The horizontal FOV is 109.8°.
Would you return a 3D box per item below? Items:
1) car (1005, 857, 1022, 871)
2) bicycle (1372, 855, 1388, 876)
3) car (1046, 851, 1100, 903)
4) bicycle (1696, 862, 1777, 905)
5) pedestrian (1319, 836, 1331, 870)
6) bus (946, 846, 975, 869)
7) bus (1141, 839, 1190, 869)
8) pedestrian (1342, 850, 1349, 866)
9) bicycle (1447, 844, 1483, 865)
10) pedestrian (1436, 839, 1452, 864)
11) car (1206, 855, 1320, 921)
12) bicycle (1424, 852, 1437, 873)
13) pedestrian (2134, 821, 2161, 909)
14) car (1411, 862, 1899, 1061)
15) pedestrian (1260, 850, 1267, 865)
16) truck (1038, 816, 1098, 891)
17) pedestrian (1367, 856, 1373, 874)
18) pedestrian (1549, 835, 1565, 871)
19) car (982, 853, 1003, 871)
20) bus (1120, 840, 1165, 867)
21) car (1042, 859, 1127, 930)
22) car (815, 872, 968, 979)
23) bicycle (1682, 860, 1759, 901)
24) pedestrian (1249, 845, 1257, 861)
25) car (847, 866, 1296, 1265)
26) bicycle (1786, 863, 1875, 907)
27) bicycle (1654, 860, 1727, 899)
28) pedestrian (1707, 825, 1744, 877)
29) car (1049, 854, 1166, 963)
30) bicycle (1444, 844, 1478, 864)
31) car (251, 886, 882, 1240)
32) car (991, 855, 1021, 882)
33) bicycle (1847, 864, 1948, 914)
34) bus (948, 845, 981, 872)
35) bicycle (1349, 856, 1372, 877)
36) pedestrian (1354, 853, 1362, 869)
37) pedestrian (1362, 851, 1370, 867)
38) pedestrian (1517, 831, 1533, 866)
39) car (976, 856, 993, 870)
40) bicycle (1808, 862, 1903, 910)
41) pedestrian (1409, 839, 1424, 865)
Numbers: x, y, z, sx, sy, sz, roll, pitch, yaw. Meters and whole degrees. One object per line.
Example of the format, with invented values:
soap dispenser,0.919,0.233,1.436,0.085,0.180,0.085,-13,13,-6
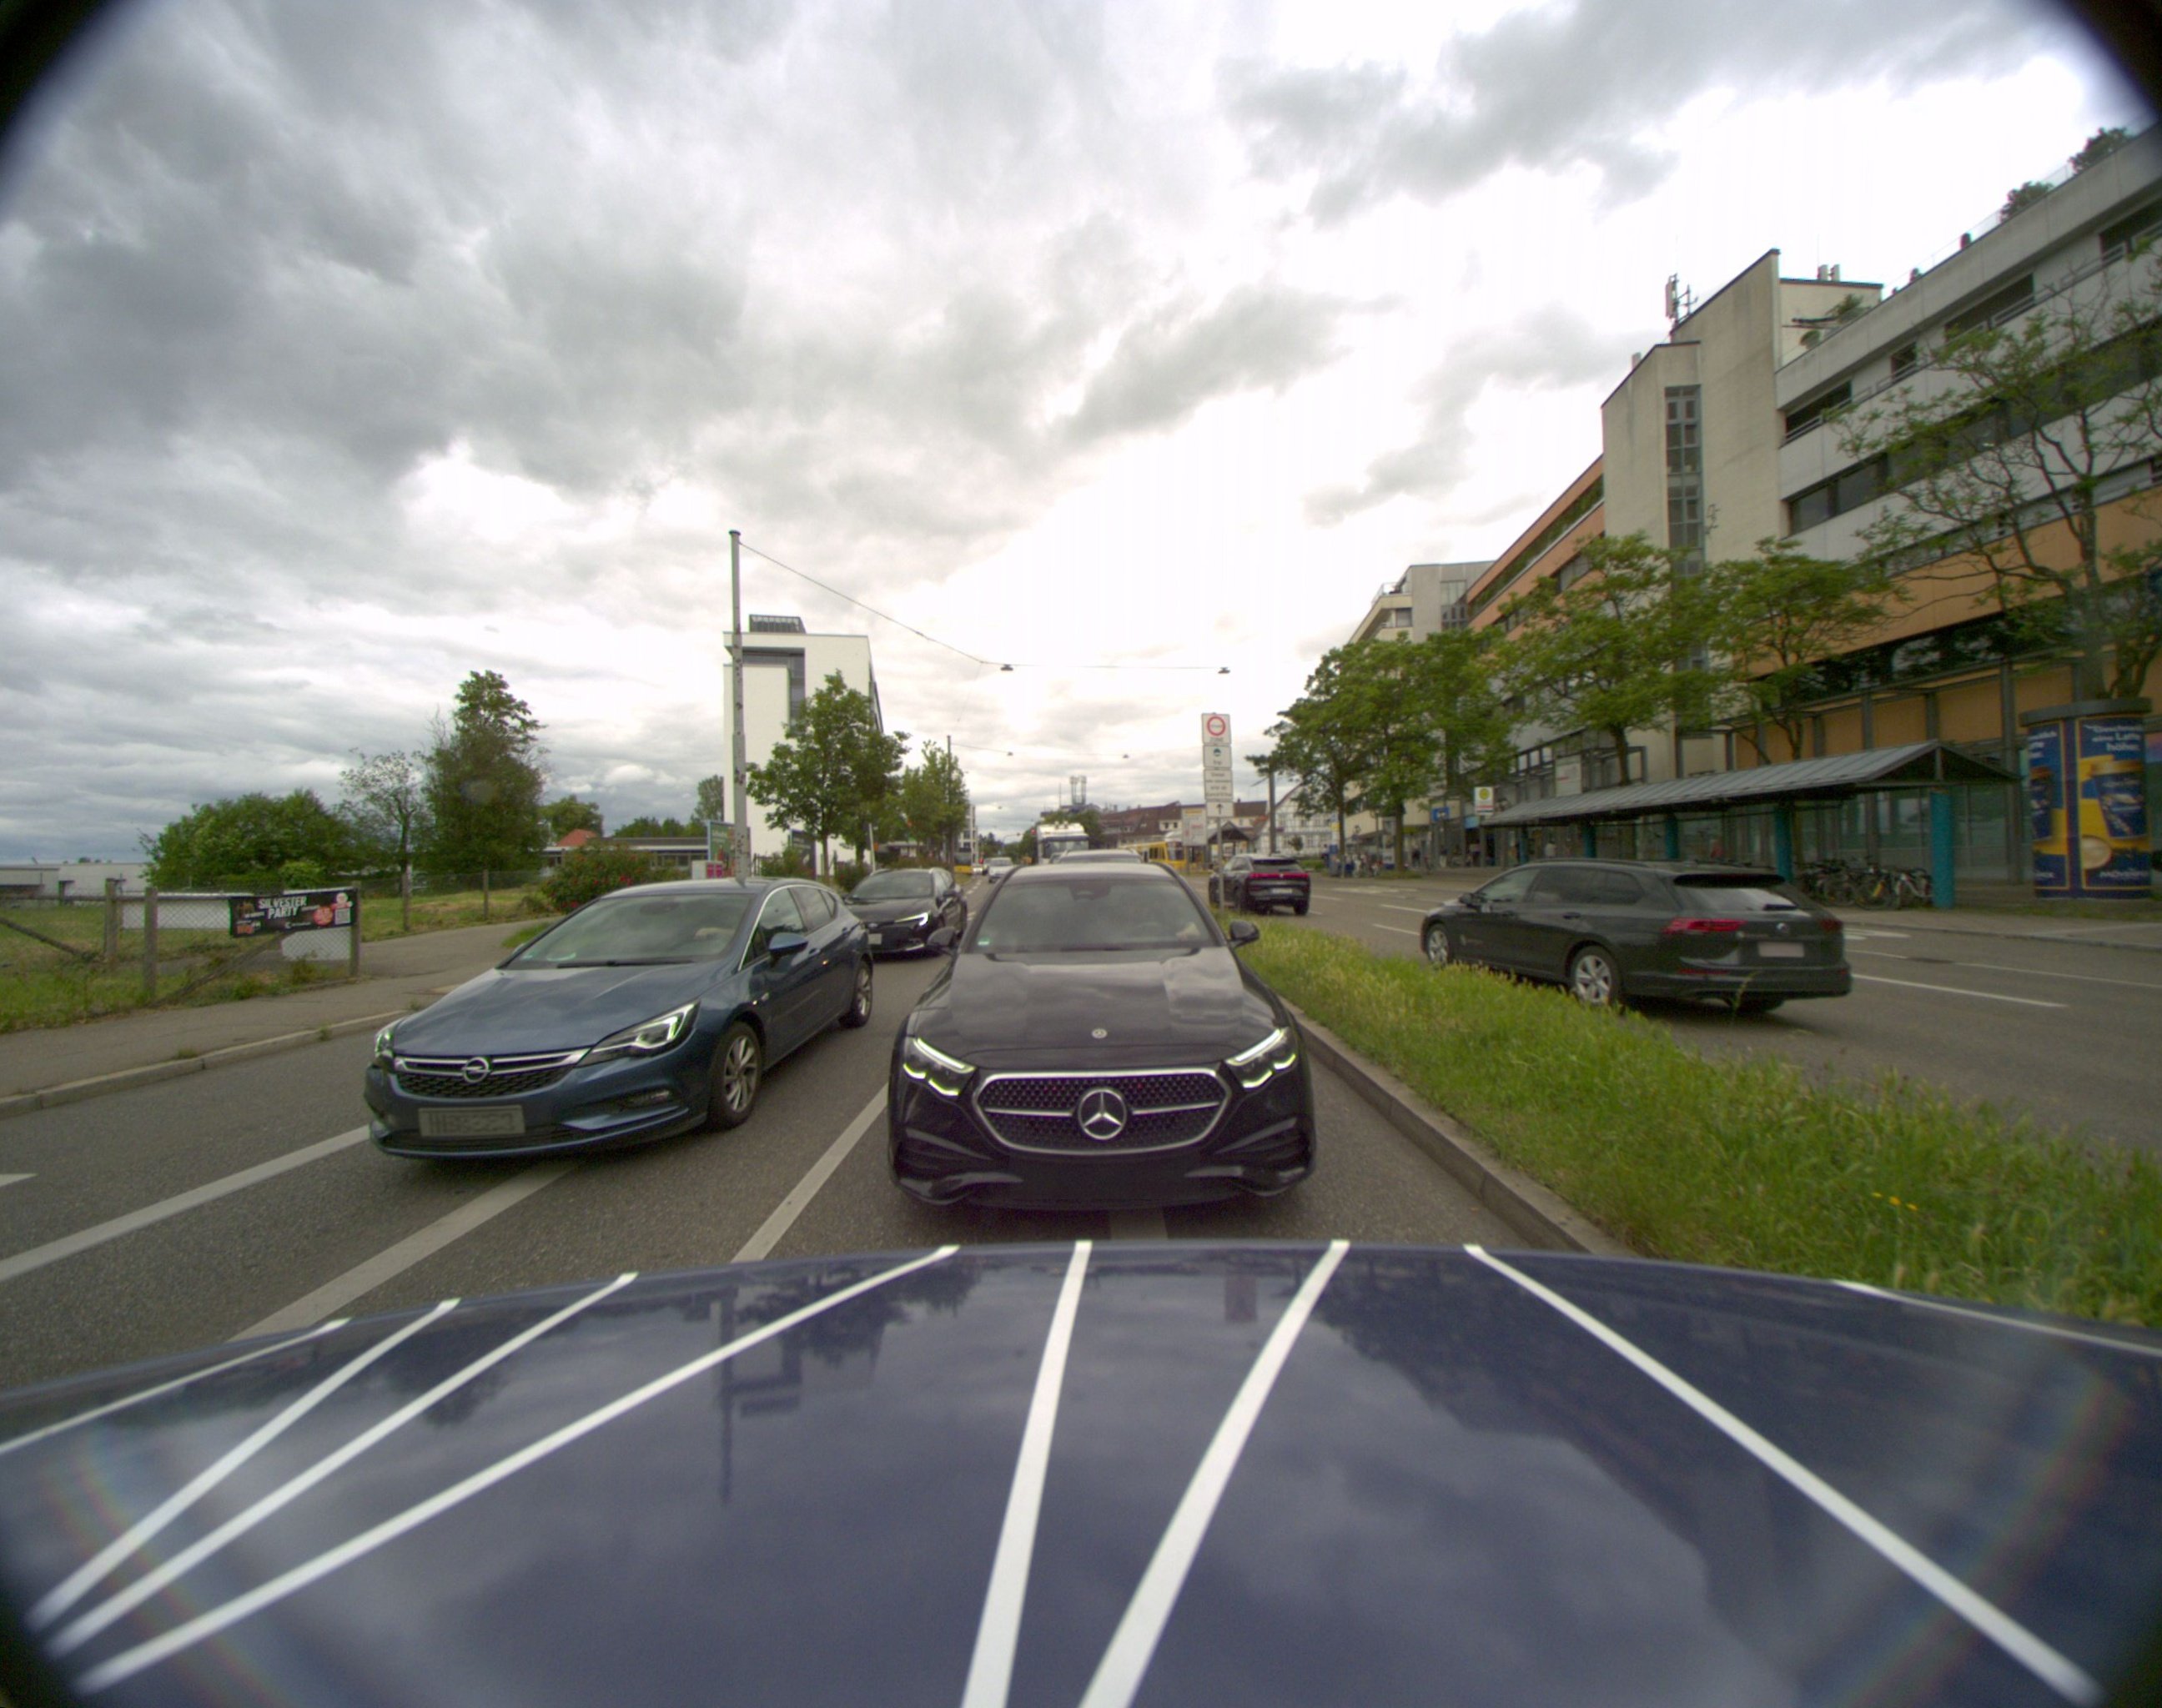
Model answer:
car,-9.207,1.327,103.621,2.000,1.674,3.997,-4,1,-8
bicycle,16.406,0.630,41.651,0.593,1.071,2.041,0,1,29
car,-0.362,0.784,28.351,1.865,1.773,3.999,-1,0,-2
bicycle,17.952,0.796,20.815,1.735,1.035,0.549,-3,1,-2
pedestrian,16.722,-0.058,52.026,0.590,2.294,0.608,-1,1,-2
bus,-15.216,0.363,95.056,2.969,2.616,12.911,-2,1,-11
bus,8.705,0.017,79.020,2.556,2.966,8.498,-1,0,-11
pedestrian,19.313,0.270,55.520,0.341,1.172,0.369,-1,1,-9
bicycle,26.999,0.039,53.405,2.139,1.367,0.620,-2,1,18
pedestrian,24.172,-0.168,50.602,0.765,1.673,0.752,-1,1,1
car,4.735,0.814,20.372,1.840,1.512,4.070,0,1,-4
bicycle,19.491,0.477,42.390,0.593,1.119,2.040,0,1,24
pedestrian,22.202,0.222,15.442,0.531,1.776,0.770,-1,1,-7
car,5.493,0.861,8.140,1.714,1.472,4.285,-1,0,-6
pedestrian,19.237,0.377,80.135,0.577,1.533,0.583,-1,1,-8
truck,-0.762,-0.034,36.730,2.490,3.258,7.428,-1,0,-4
pedestrian,26.045,0.974,68.516,0.486,1.629,0.439,-2,1,18
pedestrian,24.103,-0.041,38.493,0.648,1.799,0.761,0,1,34
car,-9.926,0.932,84.785,1.853,1.875,4.132,-3,0,-12
bus,6.940,-0.058,87.956,2.556,2.966,9.790,-1,0,-11
car,0.048,0.918,18.914,1.865,1.520,3.999,-1,0,-1
car,-3.120,1.116,13.310,1.665,1.448,3.921,-2,0,0
bicycle,18.287,0.749,21.748,1.735,1.035,0.549,-4,1,-2
pedestrian,22.375,-0.123,99.057,0.879,2.002,1.010,-1,1,6
car,-0.049,0.890,5.195,1.793,1.507,4.249,-1,0,0
bicycle,19.029,0.780,19.313,1.735,1.035,0.549,-2,1,-2
bicycle,18.209,0.754,22.708,1.735,1.035,0.549,-3,1,-2
pedestrian,25.312,-0.107,29.846,0.710,2.002,0.793,-2,1,-10
car,0.396,0.827,13.488,1.734,1.601,4.000,-2,0,0
bicycle,27.761,-0.018,55.556,2.138,1.358,0.620,-2,1,26
car,-2.910,1.055,5.532,1.826,1.402,4.000,-2,0,0
car,-5.020,0.919,50.712,1.852,1.606,3.781,-3,0,-6
bicycle,18.689,0.790,17.403,1.735,1.035,0.549,-2,1,-2
bus,-12.811,0.406,82.733,2.969,2.616,12.137,-2,1,-11
bicycle,15.483,0.663,42.022,0.593,1.071,2.041,0,1,38
pedestrian,25.137,0.646,68.961,0.555,1.485,0.454,-1,1,8
pedestrian,25.768,0.432,68.643,0.555,1.485,0.454,-1,1,8
pedestrian,25.885,-0.310,44.312,0.566,2.002,0.611,-1,1,6
car,-12.800,1.154,101.077,2.000,1.811,3.996,-1,0,-10
bicycle,18.630,0.757,18.289,1.735,1.035,0.549,-3,1,-2
pedestrian,24.441,-0.160,55.383,0.765,1.835,0.752,-1,1,1
